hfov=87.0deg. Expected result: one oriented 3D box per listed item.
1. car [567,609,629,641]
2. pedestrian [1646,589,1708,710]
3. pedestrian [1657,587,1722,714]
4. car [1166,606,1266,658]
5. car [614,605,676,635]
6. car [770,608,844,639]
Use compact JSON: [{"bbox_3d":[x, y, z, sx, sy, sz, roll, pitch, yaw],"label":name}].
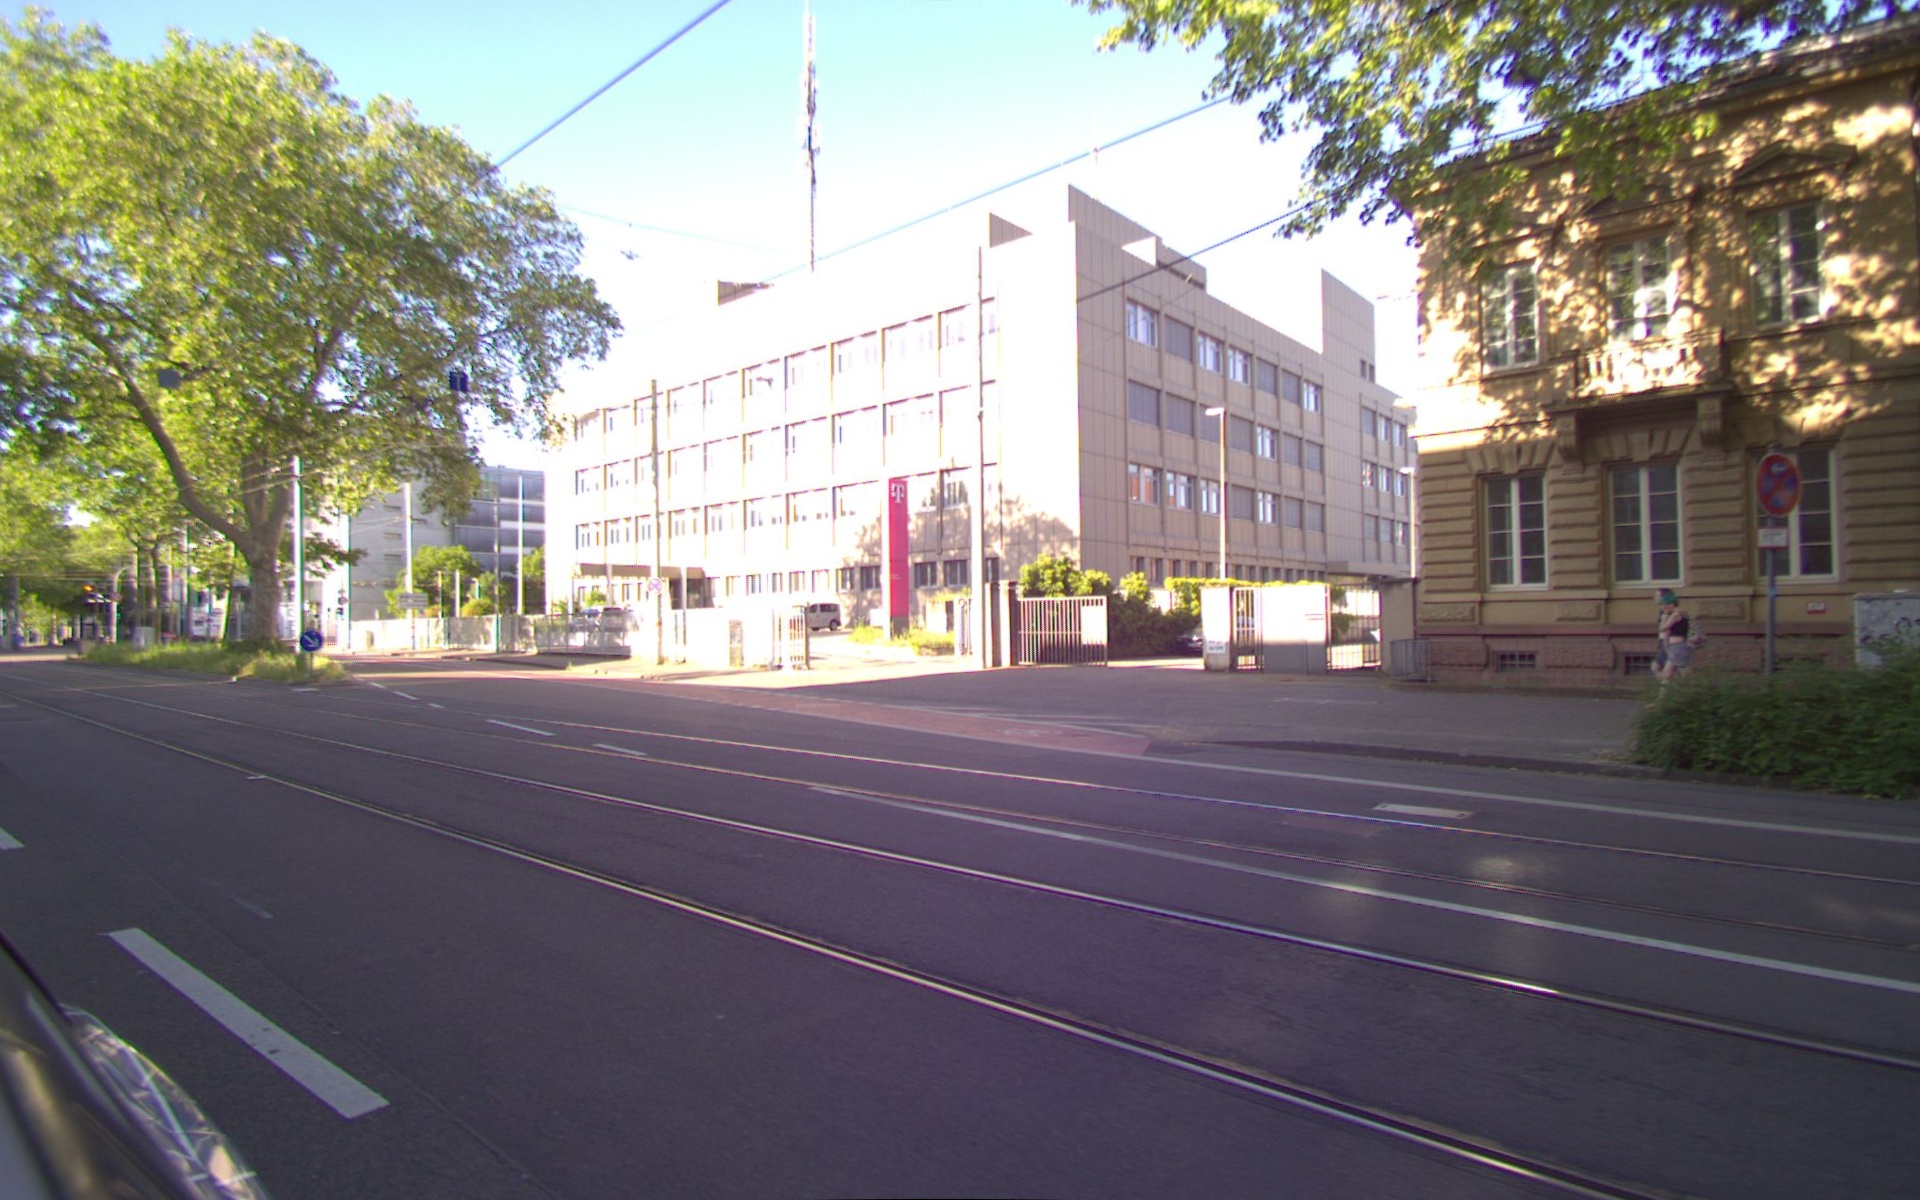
[{"bbox_3d":[-22.083,1.540,61.676,3.997,1.831,1.829,-2,-1,40],"label":"car"},{"bbox_3d":[10.451,0.706,14.775,0.660,1.710,0.665,-2,-1,33],"label":"pedestrian"},{"bbox_3d":[10.183,0.690,14.153,0.654,1.710,0.629,-2,-1,33],"label":"pedestrian"},{"bbox_3d":[9.304,1.131,36.541,1.852,1.732,4.224,-2,-1,39],"label":"car"},{"bbox_3d":[-19.767,1.271,63.436,3.997,1.765,1.829,-2,-1,40],"label":"car"},{"bbox_3d":[-9.135,1.411,60.593,1.852,1.732,4.224,-2,-1,39],"label":"car"}]
